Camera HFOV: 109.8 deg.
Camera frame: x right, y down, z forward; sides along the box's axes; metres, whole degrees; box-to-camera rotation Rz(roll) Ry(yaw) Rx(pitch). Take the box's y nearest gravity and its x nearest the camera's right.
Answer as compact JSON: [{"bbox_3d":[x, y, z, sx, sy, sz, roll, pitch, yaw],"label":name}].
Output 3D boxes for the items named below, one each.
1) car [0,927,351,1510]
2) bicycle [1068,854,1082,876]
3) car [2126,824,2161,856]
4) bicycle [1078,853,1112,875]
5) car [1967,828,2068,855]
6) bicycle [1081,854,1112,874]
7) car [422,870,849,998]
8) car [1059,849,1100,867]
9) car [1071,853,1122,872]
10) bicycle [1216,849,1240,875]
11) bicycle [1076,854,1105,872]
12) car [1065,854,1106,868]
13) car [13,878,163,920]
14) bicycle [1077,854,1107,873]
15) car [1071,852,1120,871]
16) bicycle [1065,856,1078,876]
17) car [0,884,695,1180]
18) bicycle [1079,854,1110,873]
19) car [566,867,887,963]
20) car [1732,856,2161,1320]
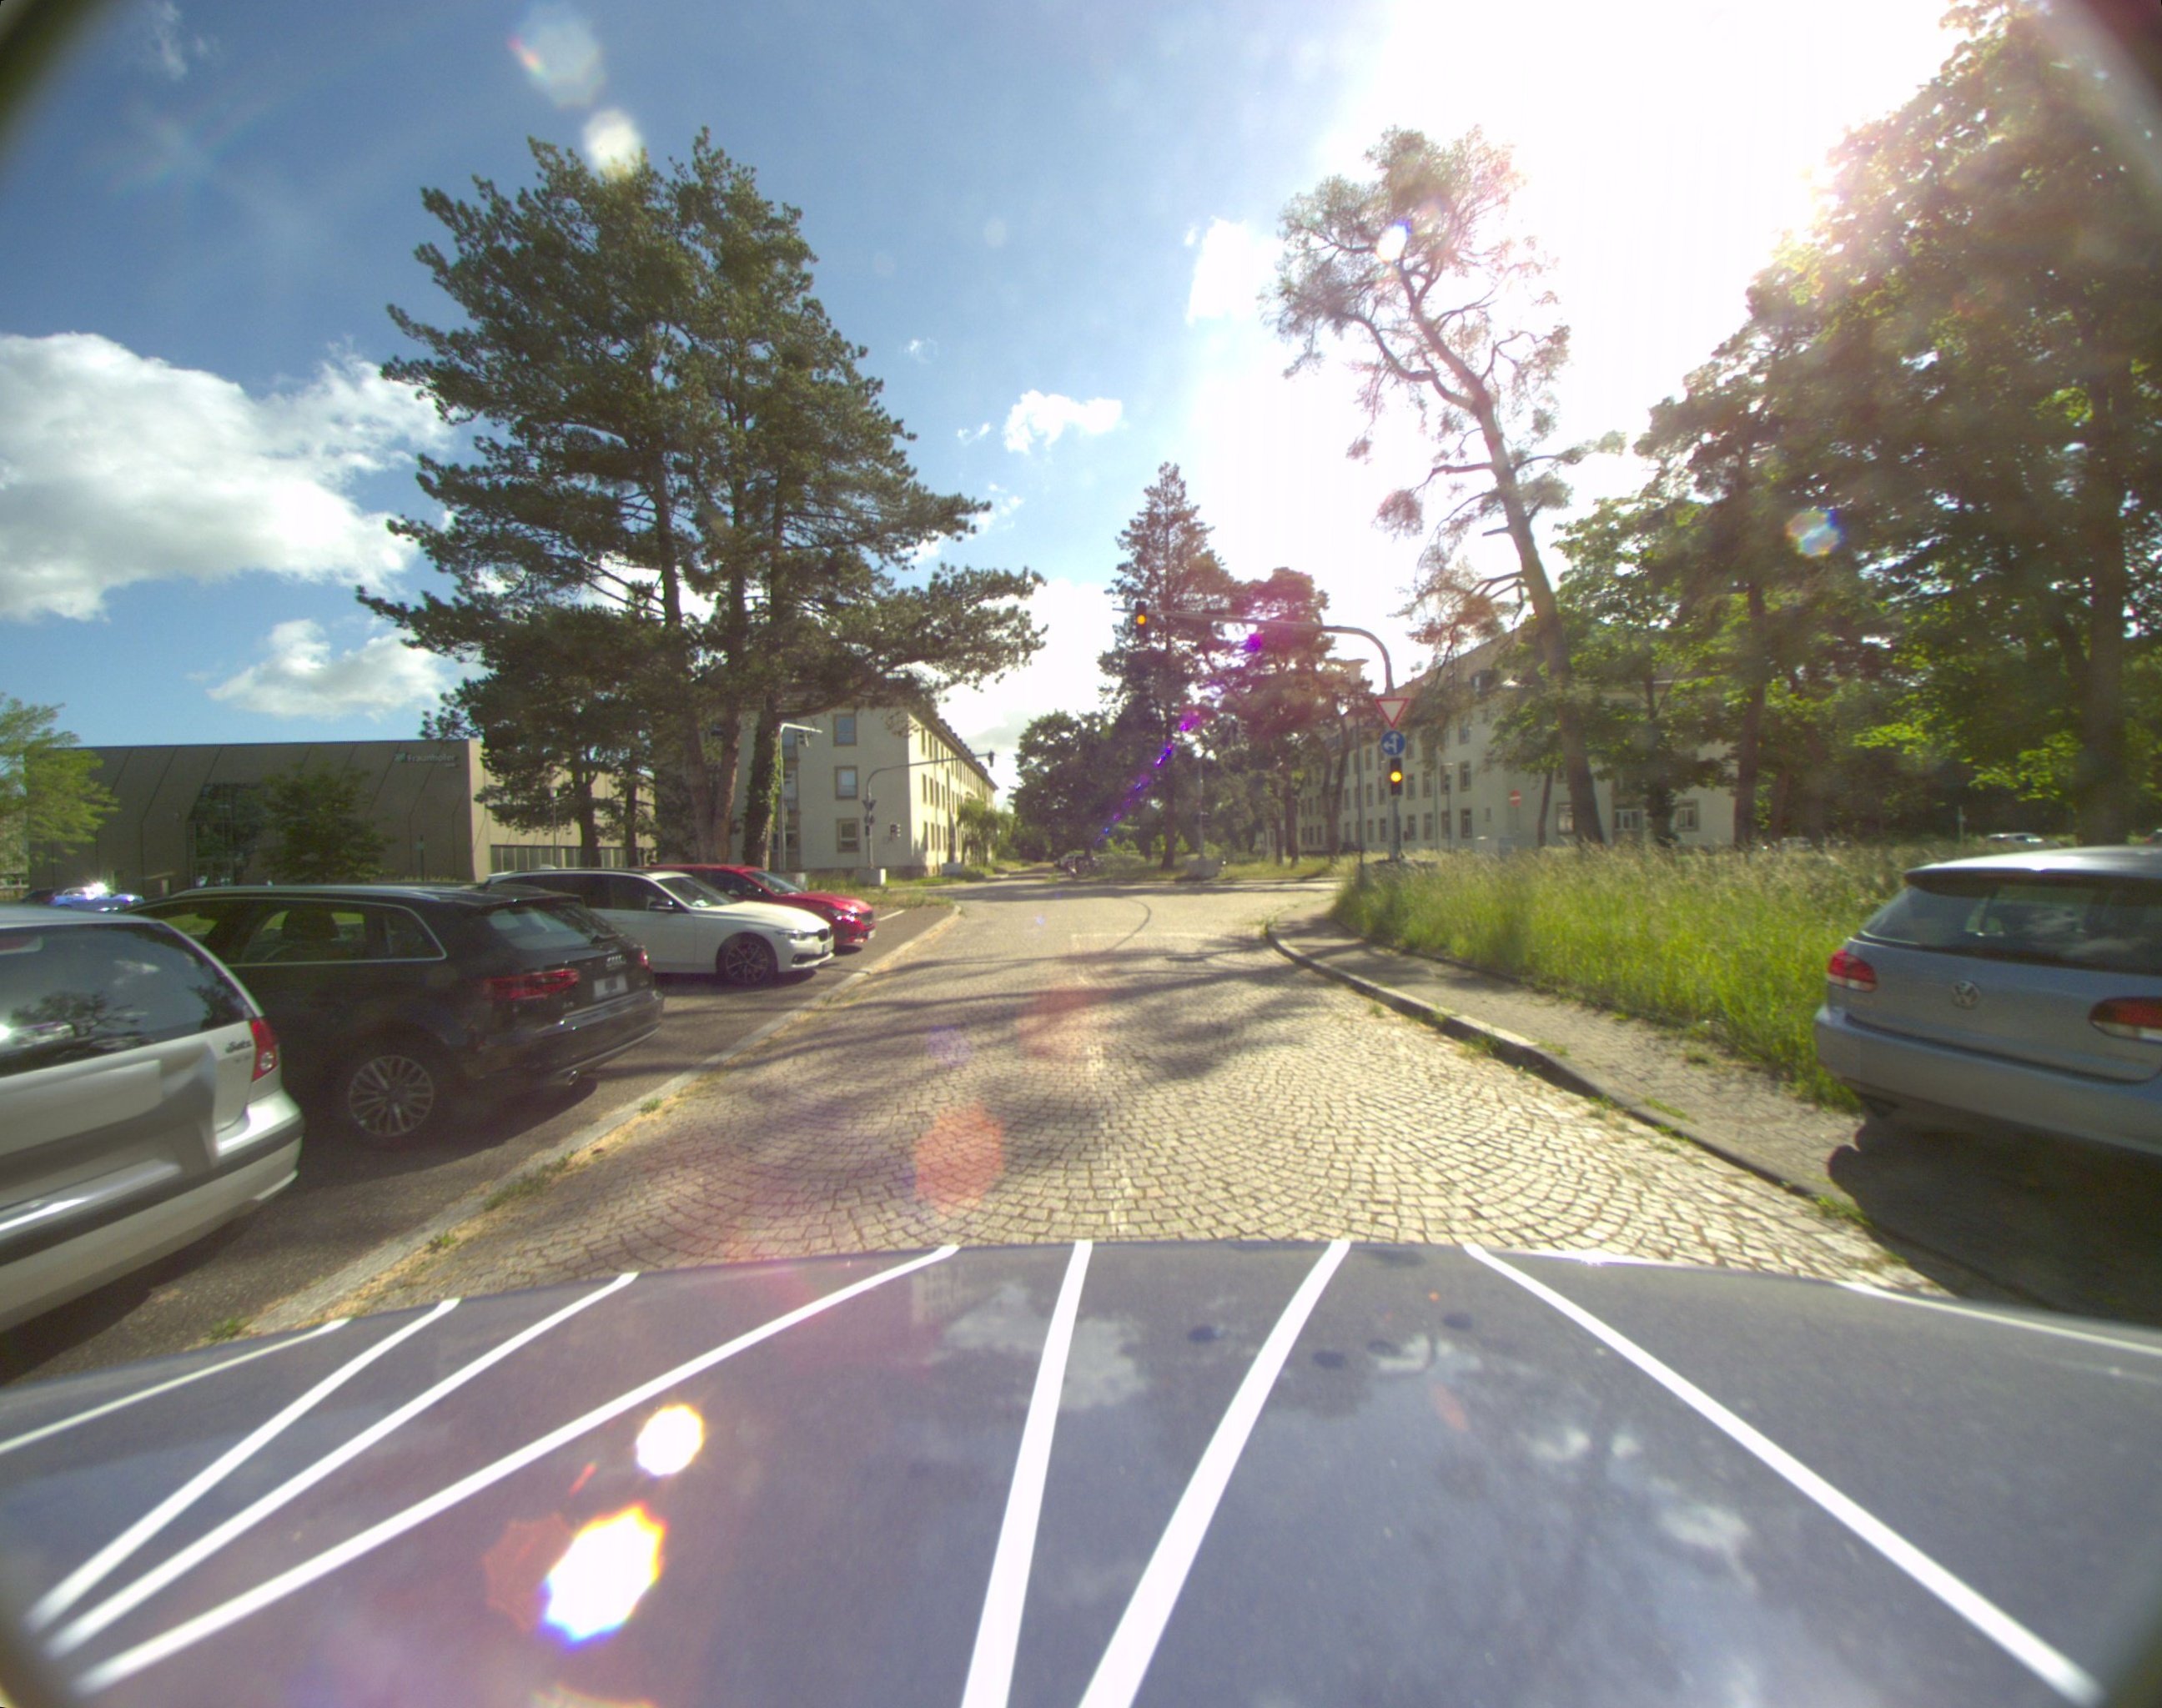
[{"bbox_3d":[-4.825,1.021,2.139,3.751,1.468,1.751,1,1,-3],"label":"car"},{"bbox_3d":[-0.420,0.696,48.585,0.621,1.342,2.113,-3,1,-6],"label":"bicycle"},{"bbox_3d":[57.138,-0.739,39.156,4.056,1.620,1.840,-1,1,0],"label":"car"},{"bbox_3d":[0.936,0.683,51.965,2.114,1.276,0.621,-7,1,-4],"label":"bicycle"},{"bbox_3d":[57.571,-0.758,46.761,4.105,1.571,1.720,-1,1,0],"label":"car"},{"bbox_3d":[1.106,0.691,54.221,2.114,1.276,0.621,-3,1,-8],"label":"bicycle"},{"bbox_3d":[-5.618,0.999,10.096,4.526,1.456,1.838,1,1,-4],"label":"car"},{"bbox_3d":[-0.153,0.418,84.148,4.227,1.903,1.816,-1,1,-11],"label":"car"},{"bbox_3d":[1.289,0.667,63.806,4.045,1.493,1.816,-1,1,-9],"label":"car"},{"bbox_3d":[7.645,0.382,39.573,0.621,1.276,2.114,-5,0,-3],"label":"bicycle"},{"bbox_3d":[0.715,0.684,57.630,2.114,1.276,0.621,-3,1,-6],"label":"bicycle"},{"bbox_3d":[0.446,0.748,78.548,4.045,1.356,1.816,-1,1,-8],"label":"car"},{"bbox_3d":[-48.774,2.183,37.480,1.860,1.556,4.058,-2,3,1],"label":"car"},{"bbox_3d":[0.801,0.683,56.789,2.114,1.276,0.621,-3,1,-6],"label":"bicycle"},{"bbox_3d":[1.250,0.669,66.831,4.045,1.514,1.816,-1,1,-9],"label":"car"},{"bbox_3d":[-0.631,0.771,50.757,0.621,1.276,2.113,-3,1,-6],"label":"bicycle"},{"bbox_3d":[-4.970,0.985,4.880,4.015,1.433,1.843,1,0,-3],"label":"car"},{"bbox_3d":[0.968,0.697,55.046,2.114,1.276,0.621,-3,1,-7],"label":"bicycle"},{"bbox_3d":[-5.803,0.982,12.905,4.549,1.413,1.894,1,1,-2],"label":"car"},{"bbox_3d":[5.652,0.766,3.292,4.038,1.474,1.948,-3,0,-3],"label":"car"}]
